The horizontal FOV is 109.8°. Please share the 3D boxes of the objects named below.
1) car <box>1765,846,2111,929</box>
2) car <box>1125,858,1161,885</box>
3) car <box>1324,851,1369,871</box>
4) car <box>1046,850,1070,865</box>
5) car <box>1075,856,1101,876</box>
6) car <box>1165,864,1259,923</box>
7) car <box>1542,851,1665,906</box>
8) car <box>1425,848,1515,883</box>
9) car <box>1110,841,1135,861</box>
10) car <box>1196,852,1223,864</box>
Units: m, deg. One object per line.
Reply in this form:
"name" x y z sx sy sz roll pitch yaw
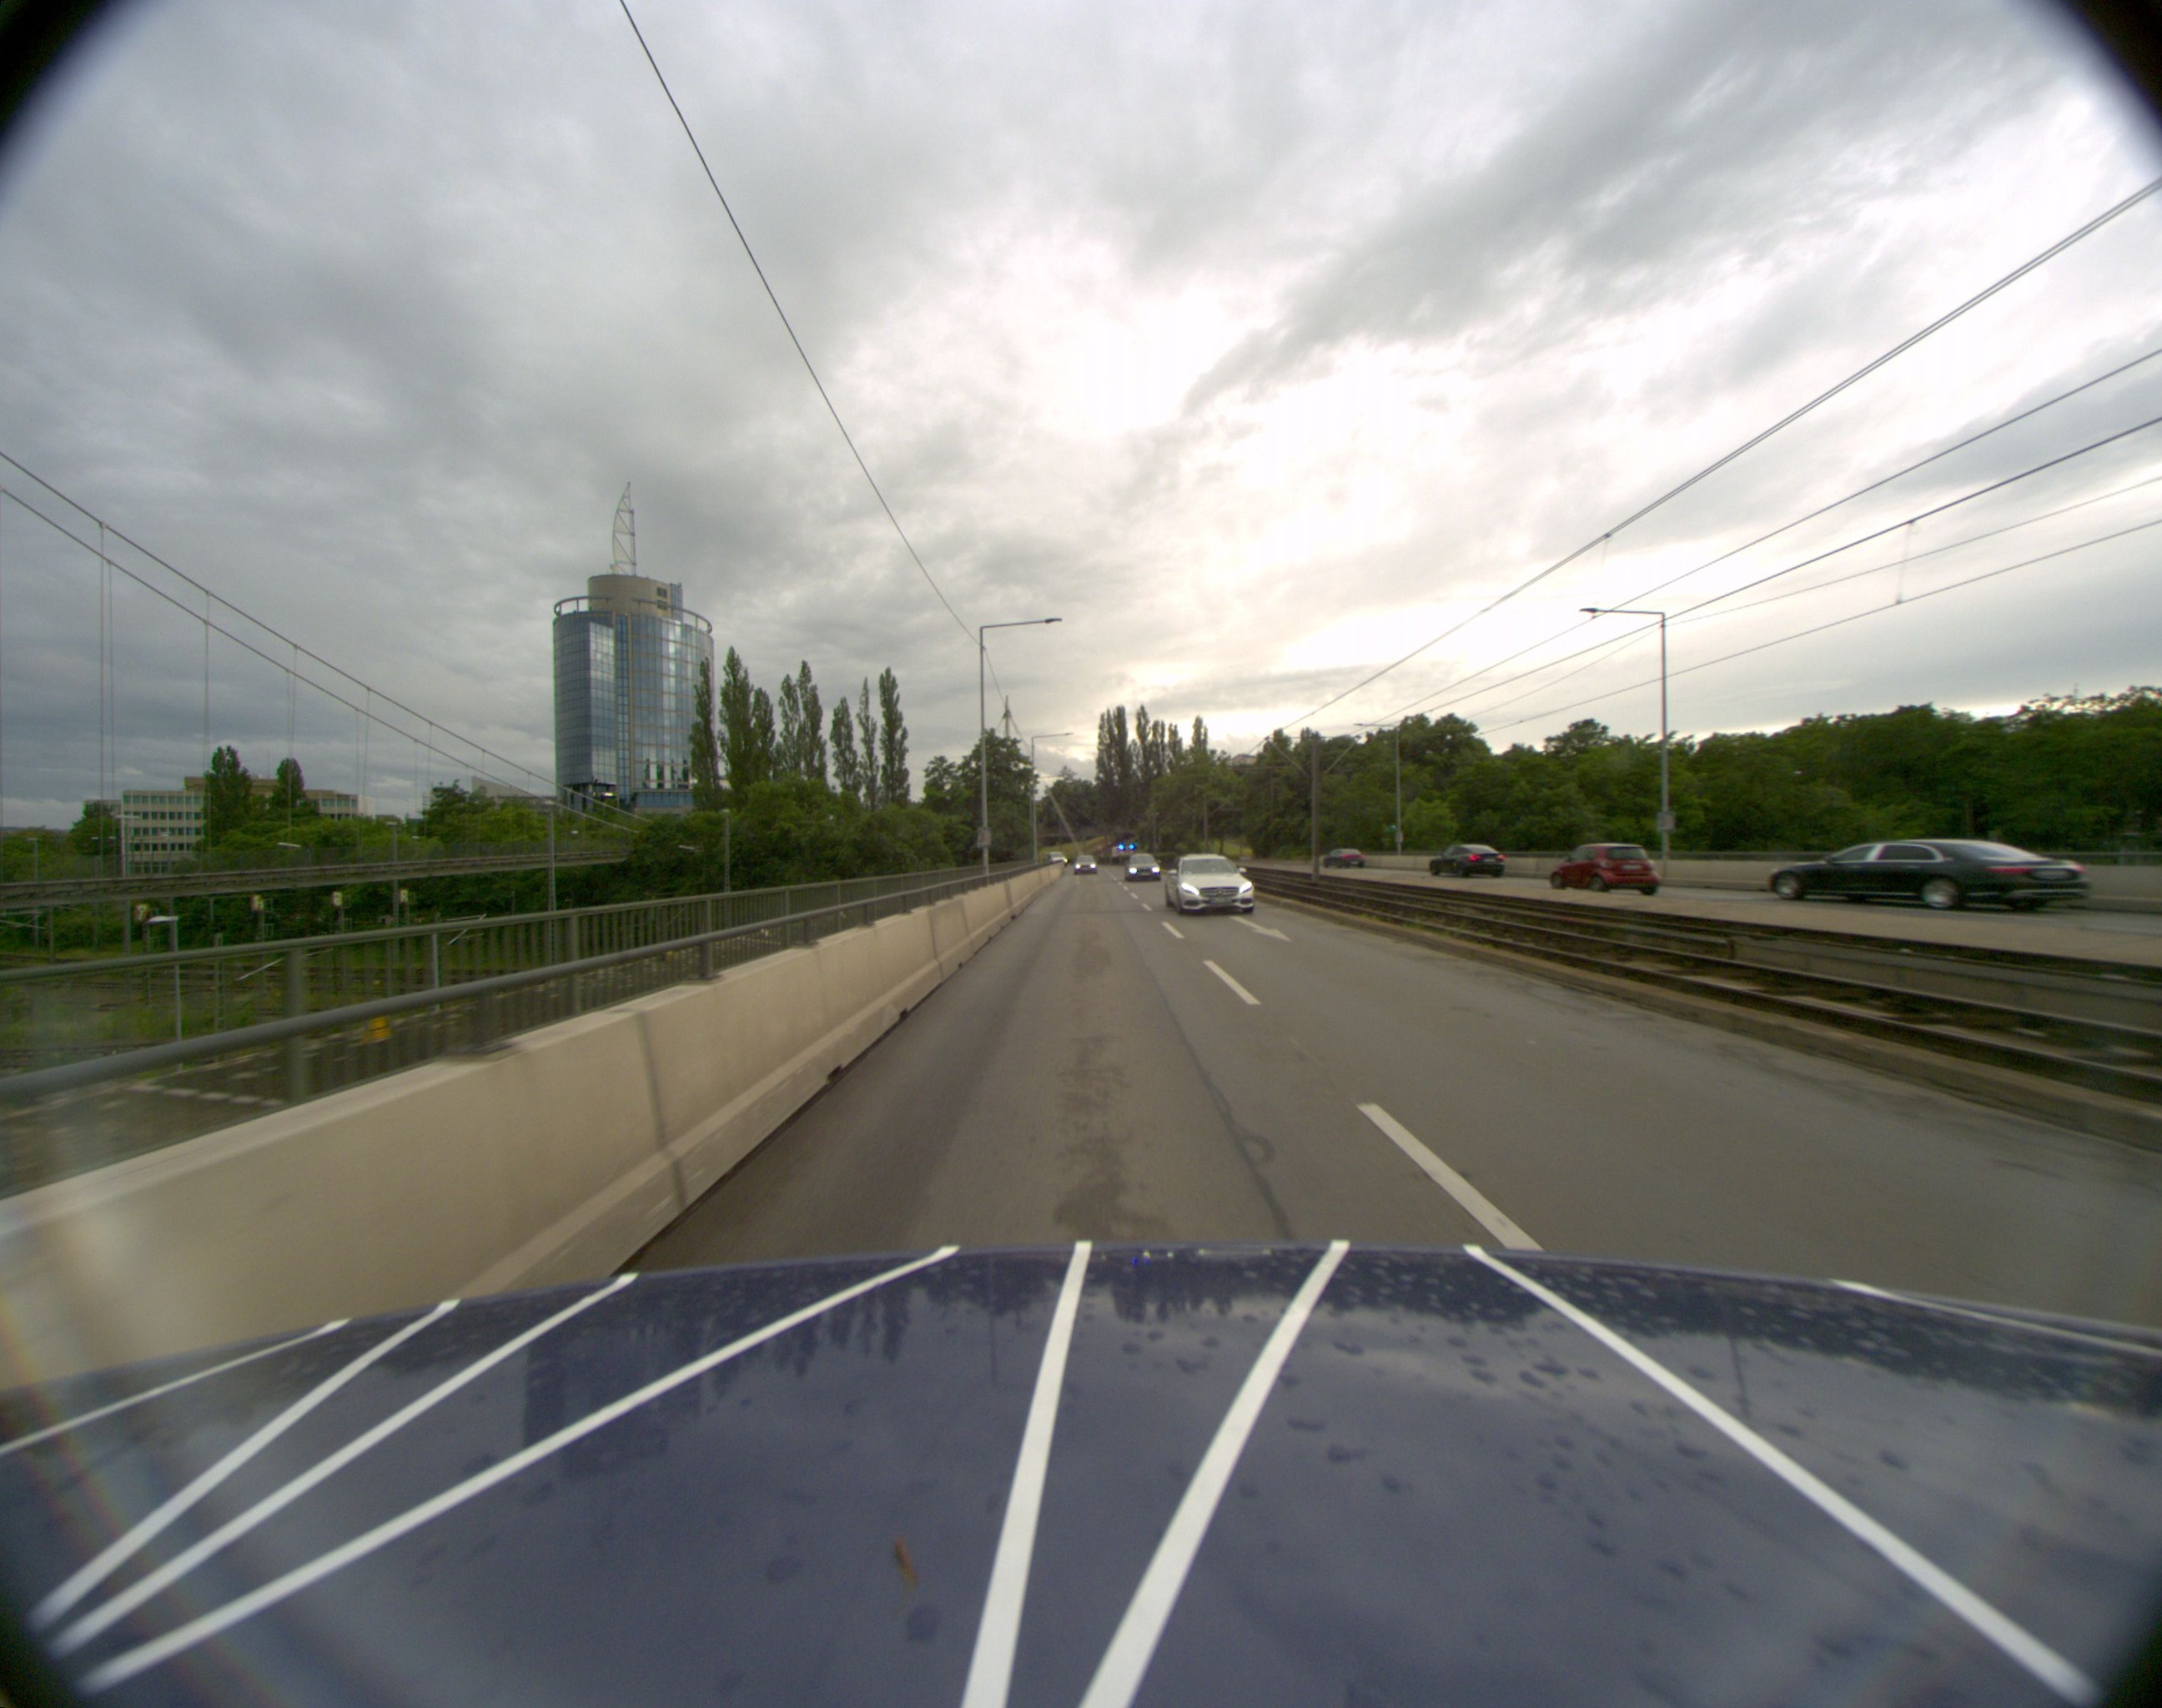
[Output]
"car" 19.003 0.683 17.361 1.974 1.588 5.184 0 -1 -2
"car" 3.331 0.907 41.441 1.736 1.344 4.000 -1 0 1
"car" 19.802 0.507 56.938 1.821 1.428 4.741 -1 0 1
"car" -2.872 0.445 93.426 1.771 1.806 3.993 -2 0 -19
"car" 0.495 0.880 58.441 1.768 1.492 3.999 -1 0 -2
"car" 3.277 0.941 19.774 1.871 1.348 4.061 0 0 2
"car" 15.770 0.685 23.114 1.605 1.485 3.016 0 2 -1
"car" 19.188 0.561 37.715 1.901 1.588 4.731 0 -1 -2
"car" 6.693 -0.542 123.023 2.398 3.097 6.350 -2 0 -11
"car" 17.033 0.540 100.602 1.843 1.306 4.614 -3 -1 -13
